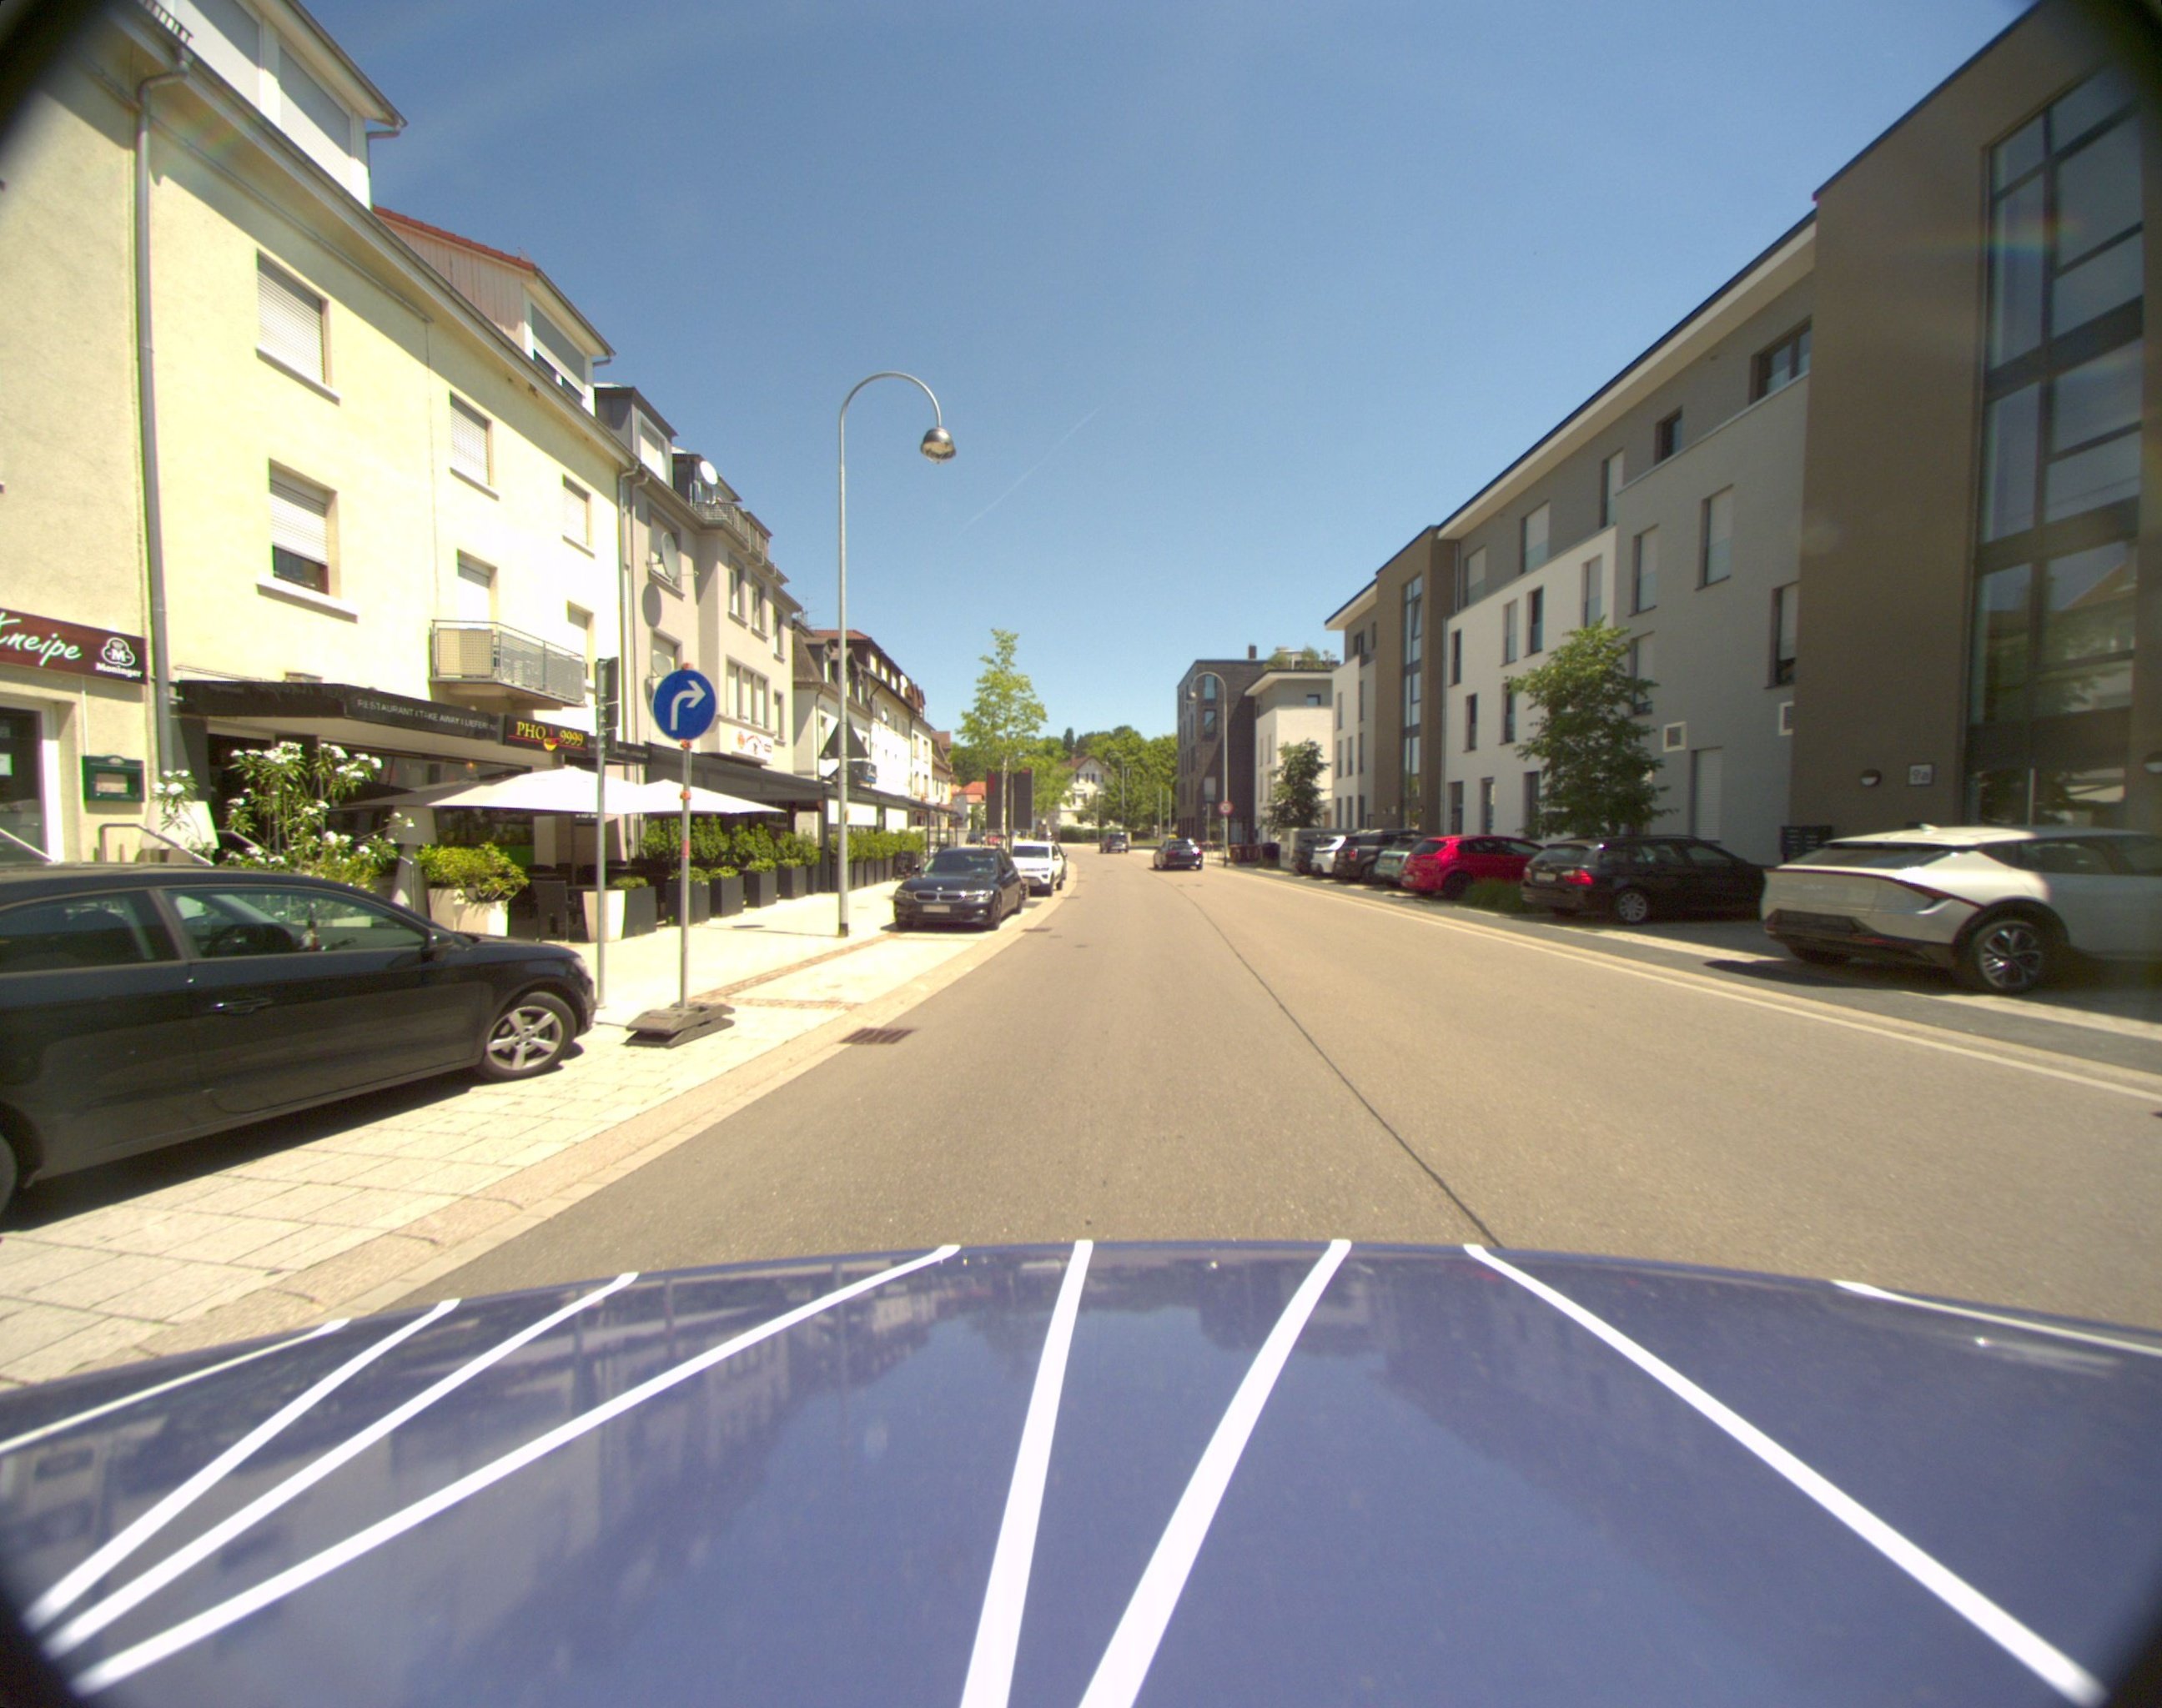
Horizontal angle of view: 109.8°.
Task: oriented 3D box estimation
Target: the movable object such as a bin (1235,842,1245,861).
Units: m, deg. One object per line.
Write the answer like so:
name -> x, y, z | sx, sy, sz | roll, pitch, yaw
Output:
movable object such as a bin -> 8.439, -0.159, 40.354 | 0.404, 0.992, 0.555 | -1, 3, -2

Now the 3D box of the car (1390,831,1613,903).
car -> 9.568, 0.256, 17.560 | 4.042, 1.422, 1.999 | -2, 2, 2

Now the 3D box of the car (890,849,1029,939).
car -> -2.210, 0.649, 15.038 | 1.728, 1.397, 4.609 | 1, 2, 4

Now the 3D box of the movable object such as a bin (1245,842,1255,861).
movable object such as a bin -> 9.005, -0.136, 40.430 | 0.404, 0.992, 0.555 | -1, 3, -2

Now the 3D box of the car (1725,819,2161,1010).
car -> 9.670, 0.497, 7.787 | 4.465, 1.582, 1.999 | -2, 2, 0

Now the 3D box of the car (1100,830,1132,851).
car -> 2.813, -1.115, 61.919 | 1.816, 1.692, 4.072 | -1, 2, -8

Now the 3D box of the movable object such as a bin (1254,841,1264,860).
movable object such as a bin -> 9.471, -0.189, 40.425 | 0.404, 0.992, 0.555 | -1, 3, -2

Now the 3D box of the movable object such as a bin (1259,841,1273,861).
movable object such as a bin -> 9.285, -0.159, 38.174 | 0.555, 1.014, 0.560 | -1, 3, -5

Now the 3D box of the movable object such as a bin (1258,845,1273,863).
movable object such as a bin -> 8.989, -0.008, 36.987 | 0.556, 0.863, 0.481 | -2, 3, -18

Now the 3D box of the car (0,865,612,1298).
car -> -4.713, 0.864, 3.814 | 1.875, 1.483, 3.864 | 1, 1, 11

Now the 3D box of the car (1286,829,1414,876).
car -> 9.780, -0.080, 27.861 | 3.997, 1.507, 1.999 | -2, 3, 1

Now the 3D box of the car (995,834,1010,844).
car -> -11.826, -2.281, 114.891 | 1.673, 1.388, 3.842 | -1, 1, -14

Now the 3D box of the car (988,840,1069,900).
car -> -1.454, 0.401, 22.595 | 1.741, 1.478, 4.054 | 2, 2, 5

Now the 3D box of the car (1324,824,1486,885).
car -> 9.713, -0.007, 23.030 | 4.042, 1.642, 1.999 | -2, 2, 2

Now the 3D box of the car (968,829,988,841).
car -> -13.466, -2.528, 99.432 | 1.737, 1.465, 4.314 | 1, 2, -20

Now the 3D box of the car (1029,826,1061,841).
car -> -4.276, -2.408, 89.228 | 1.951, 1.649, 4.224 | -3, 3, -31

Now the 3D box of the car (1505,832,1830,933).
car -> 9.829, 0.411, 12.954 | 4.212, 1.430, 1.884 | -2, 2, -4

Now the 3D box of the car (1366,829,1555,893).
car -> 9.991, 0.158, 20.252 | 4.042, 1.488, 1.999 | -2, 2, 2

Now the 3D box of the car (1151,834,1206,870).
car -> 4.524, -0.130, 35.908 | 1.898, 1.545, 4.797 | -2, 1, 0

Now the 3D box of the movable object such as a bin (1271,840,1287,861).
movable object such as a bin -> 9.782, -0.169, 37.490 | 0.556, 1.033, 0.544 | -2, 3, -18

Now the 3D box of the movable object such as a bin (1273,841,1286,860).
movable object such as a bin -> 10.656, -0.202, 40.816 | 0.484, 0.992, 0.587 | -1, 3, -8

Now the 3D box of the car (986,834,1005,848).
car -> -9.762, -1.481, 86.901 | 1.685, 1.505, 3.381 | -1, 1, -15

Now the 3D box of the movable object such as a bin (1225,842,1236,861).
movable object such as a bin -> 7.932, -0.137, 40.344 | 0.484, 0.992, 0.587 | -1, 3, -2

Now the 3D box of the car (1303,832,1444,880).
car -> 9.732, 0.035, 25.536 | 3.997, 1.413, 1.909 | -2, 2, 0
